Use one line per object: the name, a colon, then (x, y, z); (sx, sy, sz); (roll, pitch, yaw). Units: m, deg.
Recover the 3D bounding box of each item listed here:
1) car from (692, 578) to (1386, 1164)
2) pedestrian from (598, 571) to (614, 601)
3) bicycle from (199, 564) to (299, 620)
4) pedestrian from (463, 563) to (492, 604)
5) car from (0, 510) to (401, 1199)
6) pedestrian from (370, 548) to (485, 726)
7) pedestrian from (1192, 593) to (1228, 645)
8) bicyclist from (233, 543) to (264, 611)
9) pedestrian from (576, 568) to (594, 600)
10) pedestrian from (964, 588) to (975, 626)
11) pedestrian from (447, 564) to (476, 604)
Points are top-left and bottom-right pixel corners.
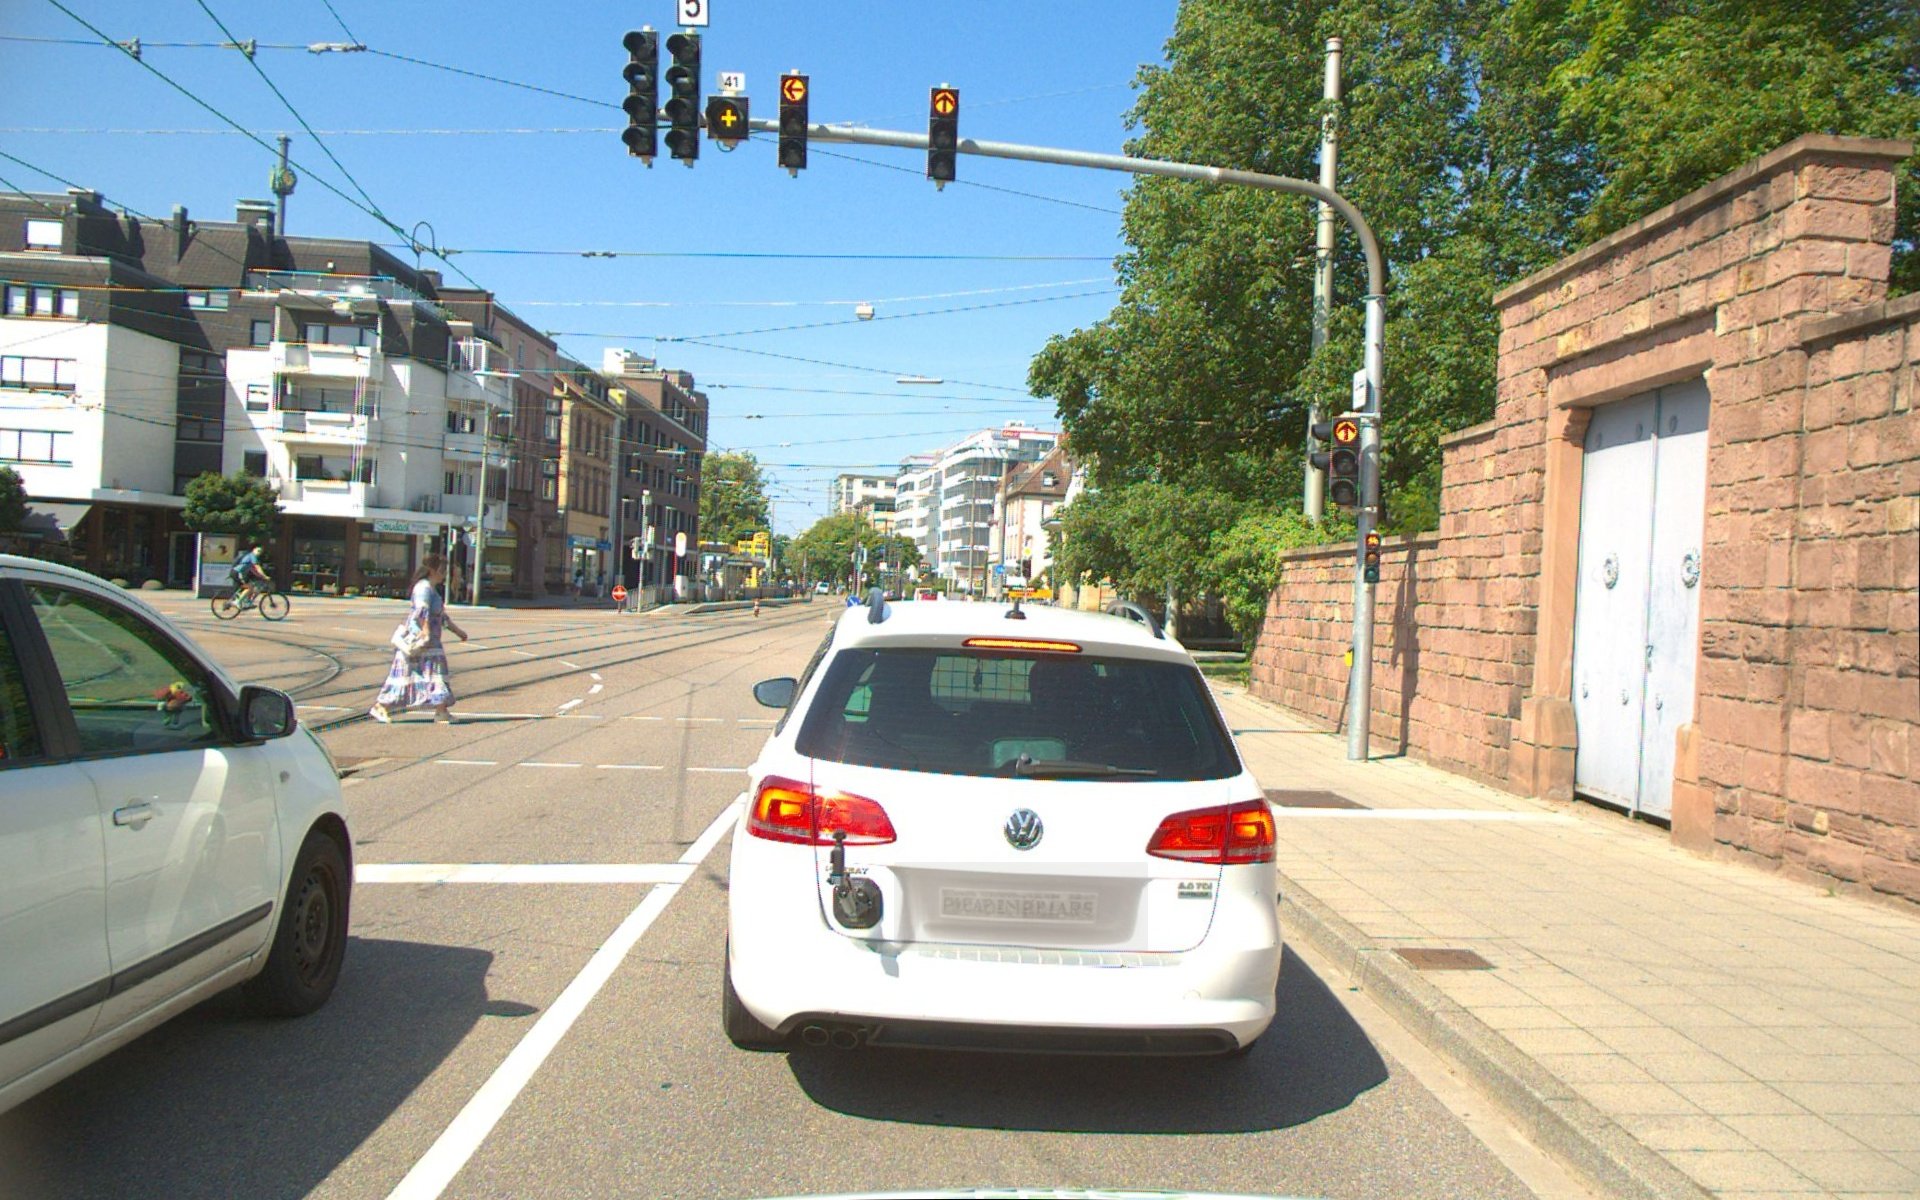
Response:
car: (0.177, 0.700, 6.334); (1.771, 1.473, 3.999); (2, 0, -1)
pedestrian: (-21.031, -0.836, 98.312); (0.845, 1.773, 0.973); (1, -1, -6)
bicycle: (-17.456, -0.181, 40.628); (2.217, 1.320, 0.554); (1, -1, -29)
pedestrian: (-21.140, -0.711, 72.488); (0.965, 1.773, 0.852); (1, -1, -39)
car: (-2.854, 0.580, 4.216); (1.608, 1.593, 3.803); (1, 1, -1)
pedestrian: (-5.264, 0.359, 16.323); (0.959, 1.680, 0.948); (1, -1, -25)
pedestrian: (8.652, 0.642, 57.229); (0.955, 1.773, 0.861); (0, -1, 36)
bicyclist: (-17.475, -0.561, 40.618); (0.629, 1.641, 0.557); (1, -1, -28)
pedestrian: (-20.948, -0.904, 92.357); (0.845, 1.773, 0.973); (1, -1, -6)
pedestrian: (0.593, 0.448, 103.969); (0.675, 2.366, 1.232); (1, -1, 0)
pedestrian: (-22.180, -0.713, 73.585); (0.843, 1.773, 0.976); (0, -1, 11)
